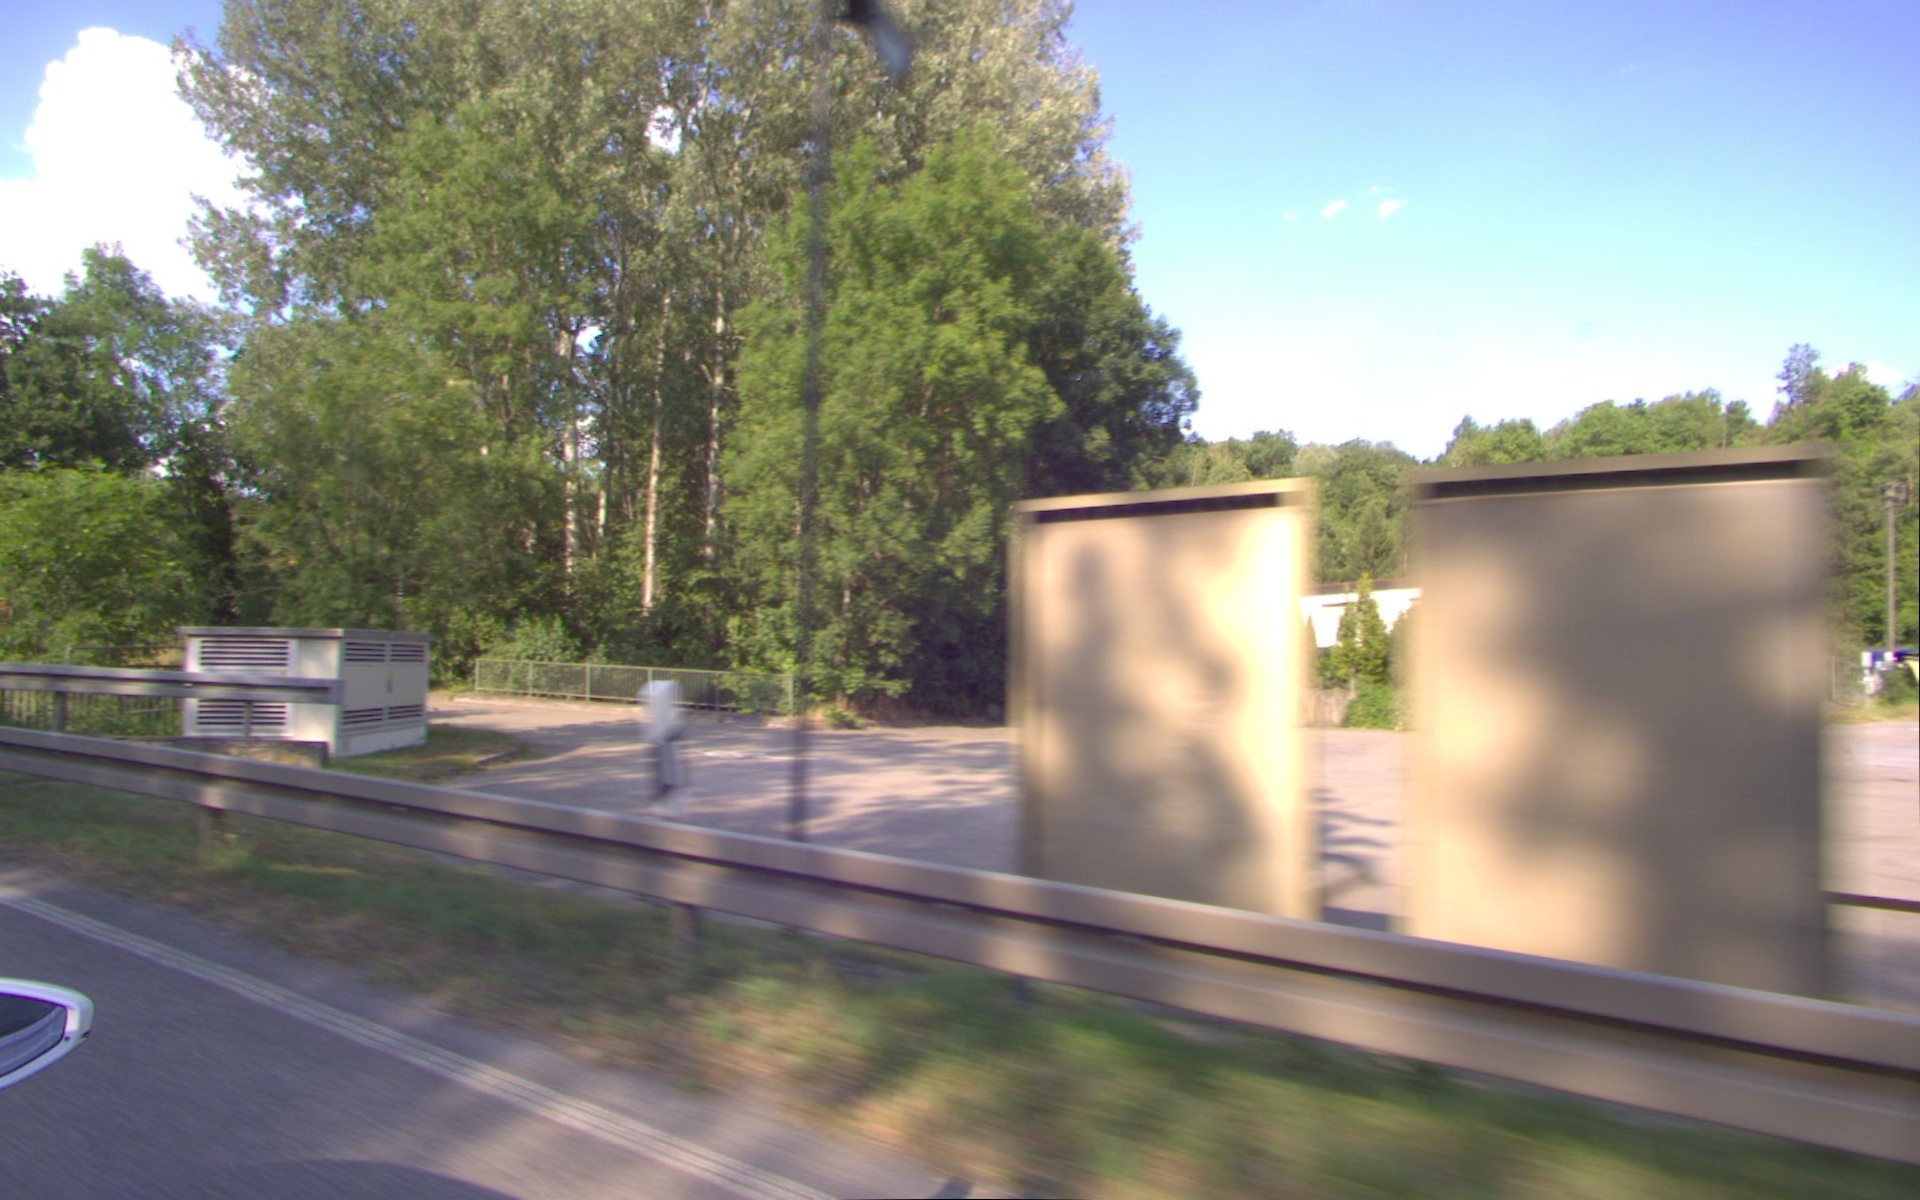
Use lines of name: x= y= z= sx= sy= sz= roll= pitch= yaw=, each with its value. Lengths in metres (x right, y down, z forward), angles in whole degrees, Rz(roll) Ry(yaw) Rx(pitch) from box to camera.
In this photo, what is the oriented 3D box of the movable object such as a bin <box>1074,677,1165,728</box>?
movable object such as a bin: x=4.991 y=3.194 z=31.355 sx=2.518 sy=1.437 sz=1.266 roll=0 pitch=-5 yaw=29
